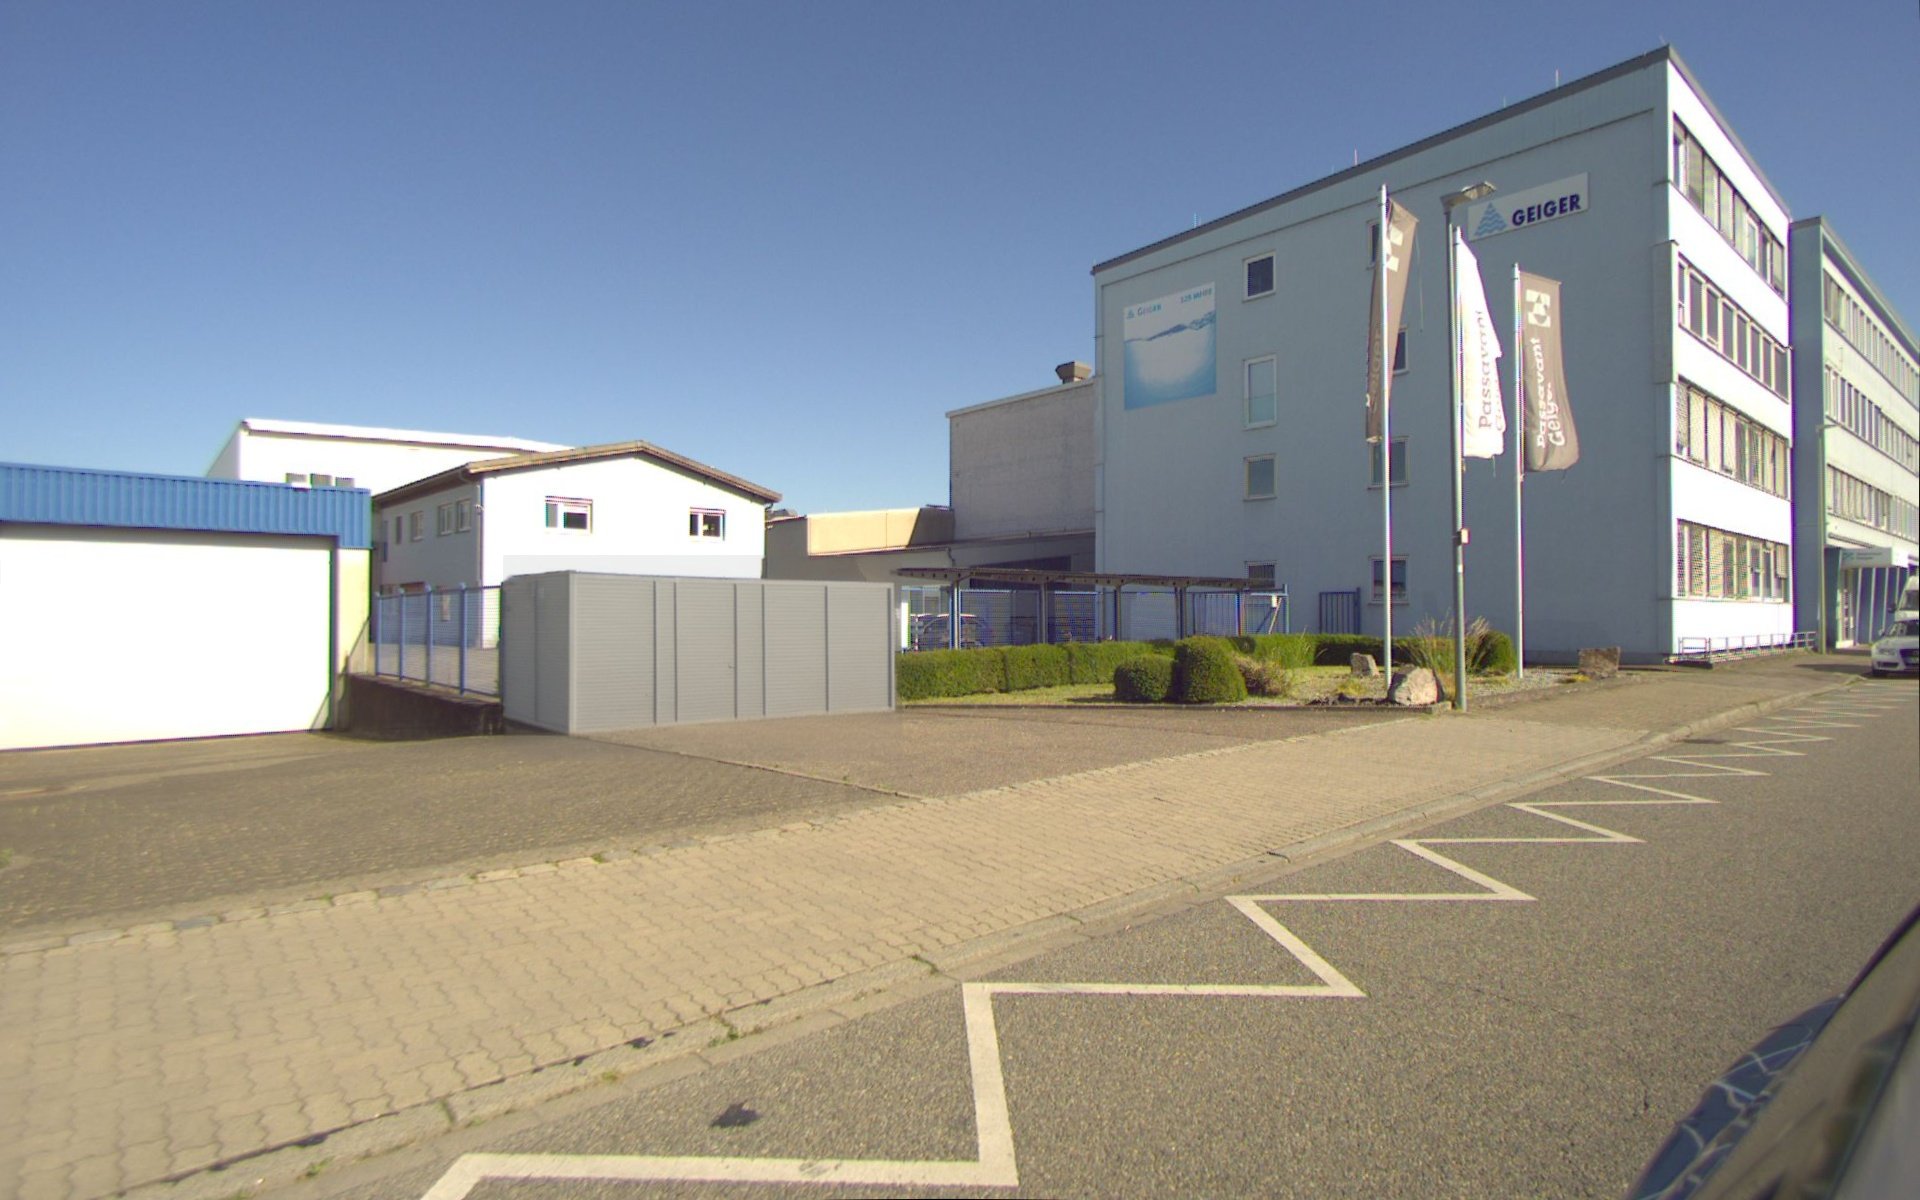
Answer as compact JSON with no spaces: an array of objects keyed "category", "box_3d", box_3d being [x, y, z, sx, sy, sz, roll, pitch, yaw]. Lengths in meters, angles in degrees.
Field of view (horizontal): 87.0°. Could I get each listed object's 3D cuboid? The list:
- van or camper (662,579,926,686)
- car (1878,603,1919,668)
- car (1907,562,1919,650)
[{"category":"van or camper","box_3d":[-4.087,0.742,25.768,6.396,2.413,2.104,-1,-2,-39]},{"category":"car","box_3d":[23.312,0.773,23.832,5.035,1.423,1.897,0,-2,-41]},{"category":"car","box_3d":[31.443,0.270,31.754,5.946,2.630,1.997,2,0,-42]}]
